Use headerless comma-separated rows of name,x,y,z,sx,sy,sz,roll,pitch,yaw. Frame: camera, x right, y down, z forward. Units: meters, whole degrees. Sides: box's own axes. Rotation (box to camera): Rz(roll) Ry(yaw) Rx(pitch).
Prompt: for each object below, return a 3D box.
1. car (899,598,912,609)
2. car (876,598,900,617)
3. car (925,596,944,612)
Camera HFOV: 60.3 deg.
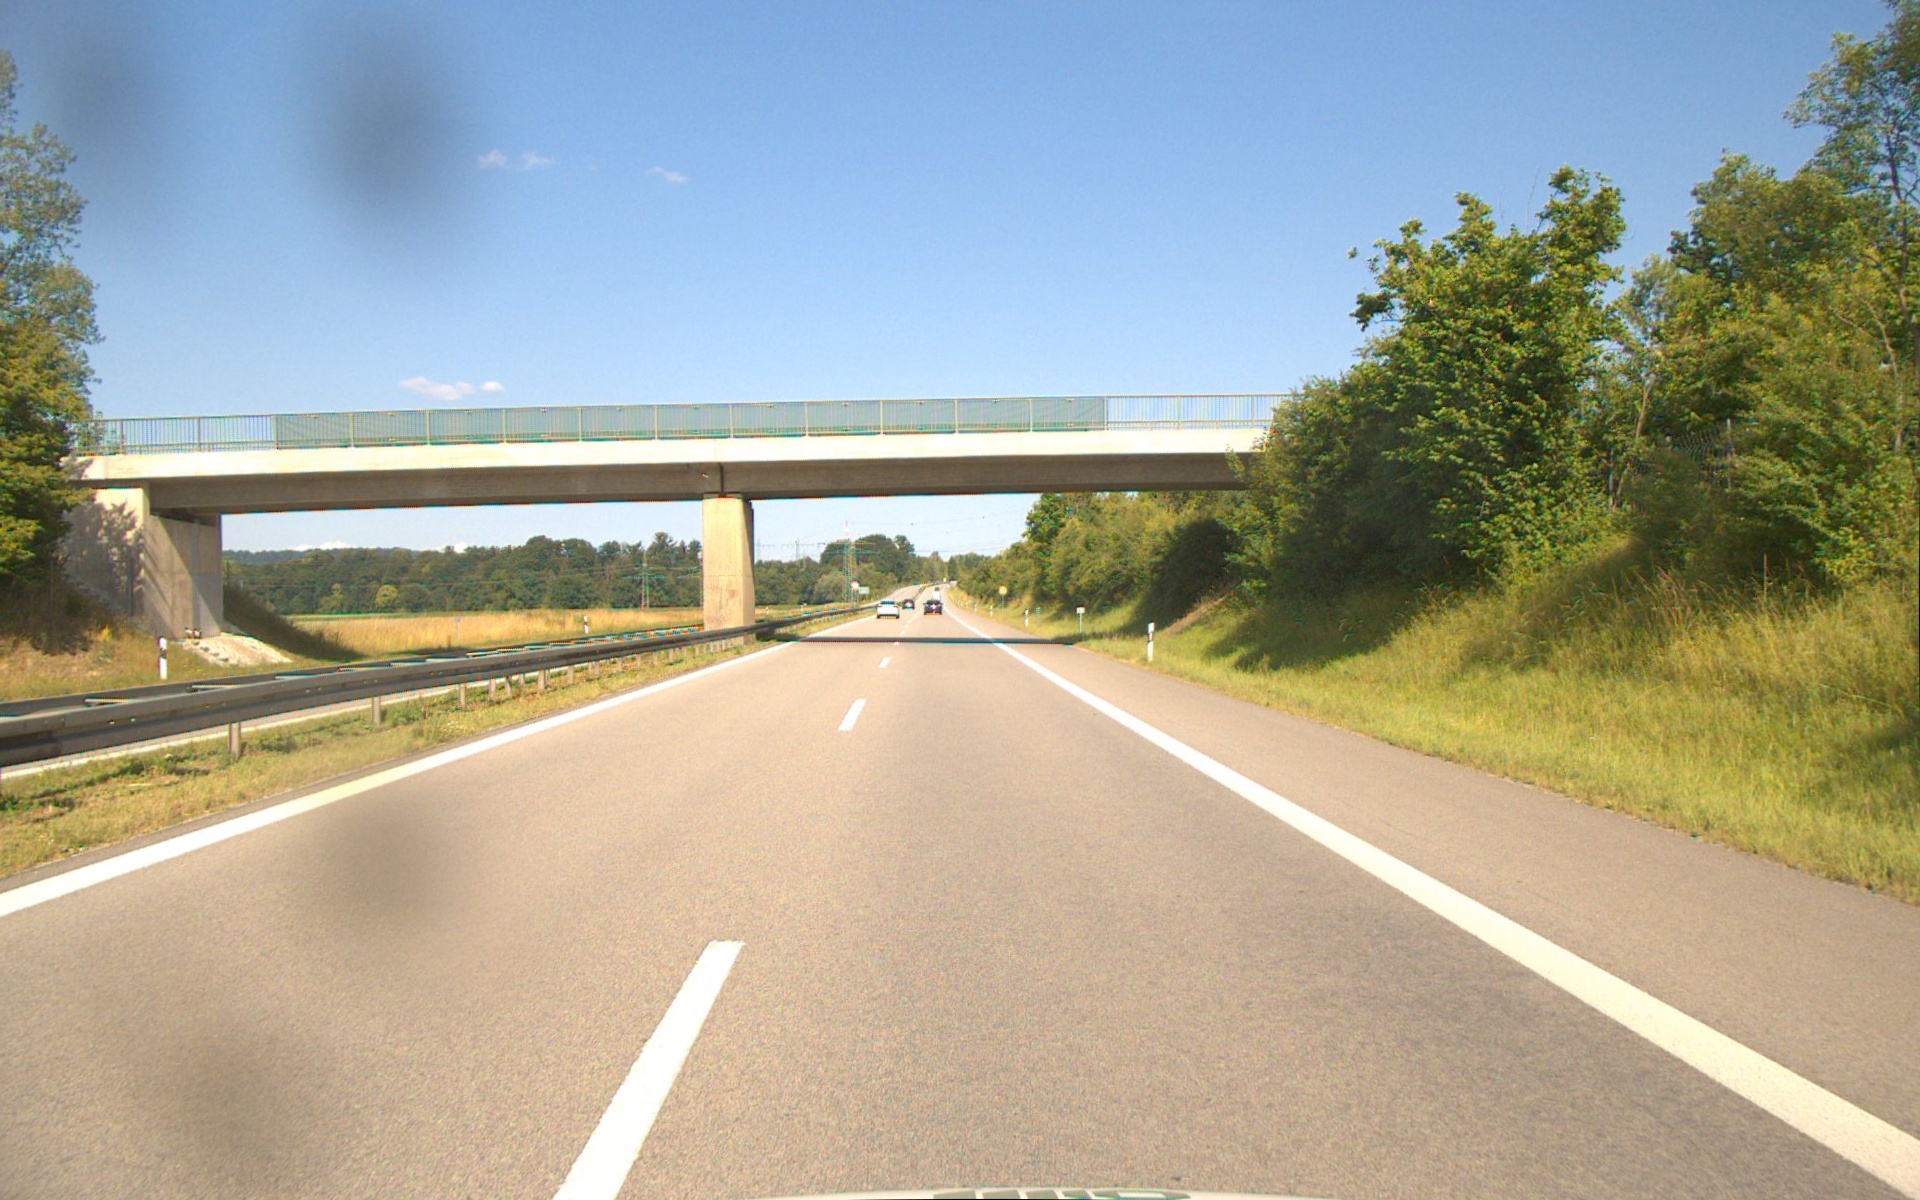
car,-7.830,0.495,238.720,1.806,1.461,3.998,1,0,-2
car,-5.635,0.562,129.905,1.806,1.440,3.998,1,0,-2
car,-2.582,0.419,164.466,1.806,1.546,3.998,1,0,-2
